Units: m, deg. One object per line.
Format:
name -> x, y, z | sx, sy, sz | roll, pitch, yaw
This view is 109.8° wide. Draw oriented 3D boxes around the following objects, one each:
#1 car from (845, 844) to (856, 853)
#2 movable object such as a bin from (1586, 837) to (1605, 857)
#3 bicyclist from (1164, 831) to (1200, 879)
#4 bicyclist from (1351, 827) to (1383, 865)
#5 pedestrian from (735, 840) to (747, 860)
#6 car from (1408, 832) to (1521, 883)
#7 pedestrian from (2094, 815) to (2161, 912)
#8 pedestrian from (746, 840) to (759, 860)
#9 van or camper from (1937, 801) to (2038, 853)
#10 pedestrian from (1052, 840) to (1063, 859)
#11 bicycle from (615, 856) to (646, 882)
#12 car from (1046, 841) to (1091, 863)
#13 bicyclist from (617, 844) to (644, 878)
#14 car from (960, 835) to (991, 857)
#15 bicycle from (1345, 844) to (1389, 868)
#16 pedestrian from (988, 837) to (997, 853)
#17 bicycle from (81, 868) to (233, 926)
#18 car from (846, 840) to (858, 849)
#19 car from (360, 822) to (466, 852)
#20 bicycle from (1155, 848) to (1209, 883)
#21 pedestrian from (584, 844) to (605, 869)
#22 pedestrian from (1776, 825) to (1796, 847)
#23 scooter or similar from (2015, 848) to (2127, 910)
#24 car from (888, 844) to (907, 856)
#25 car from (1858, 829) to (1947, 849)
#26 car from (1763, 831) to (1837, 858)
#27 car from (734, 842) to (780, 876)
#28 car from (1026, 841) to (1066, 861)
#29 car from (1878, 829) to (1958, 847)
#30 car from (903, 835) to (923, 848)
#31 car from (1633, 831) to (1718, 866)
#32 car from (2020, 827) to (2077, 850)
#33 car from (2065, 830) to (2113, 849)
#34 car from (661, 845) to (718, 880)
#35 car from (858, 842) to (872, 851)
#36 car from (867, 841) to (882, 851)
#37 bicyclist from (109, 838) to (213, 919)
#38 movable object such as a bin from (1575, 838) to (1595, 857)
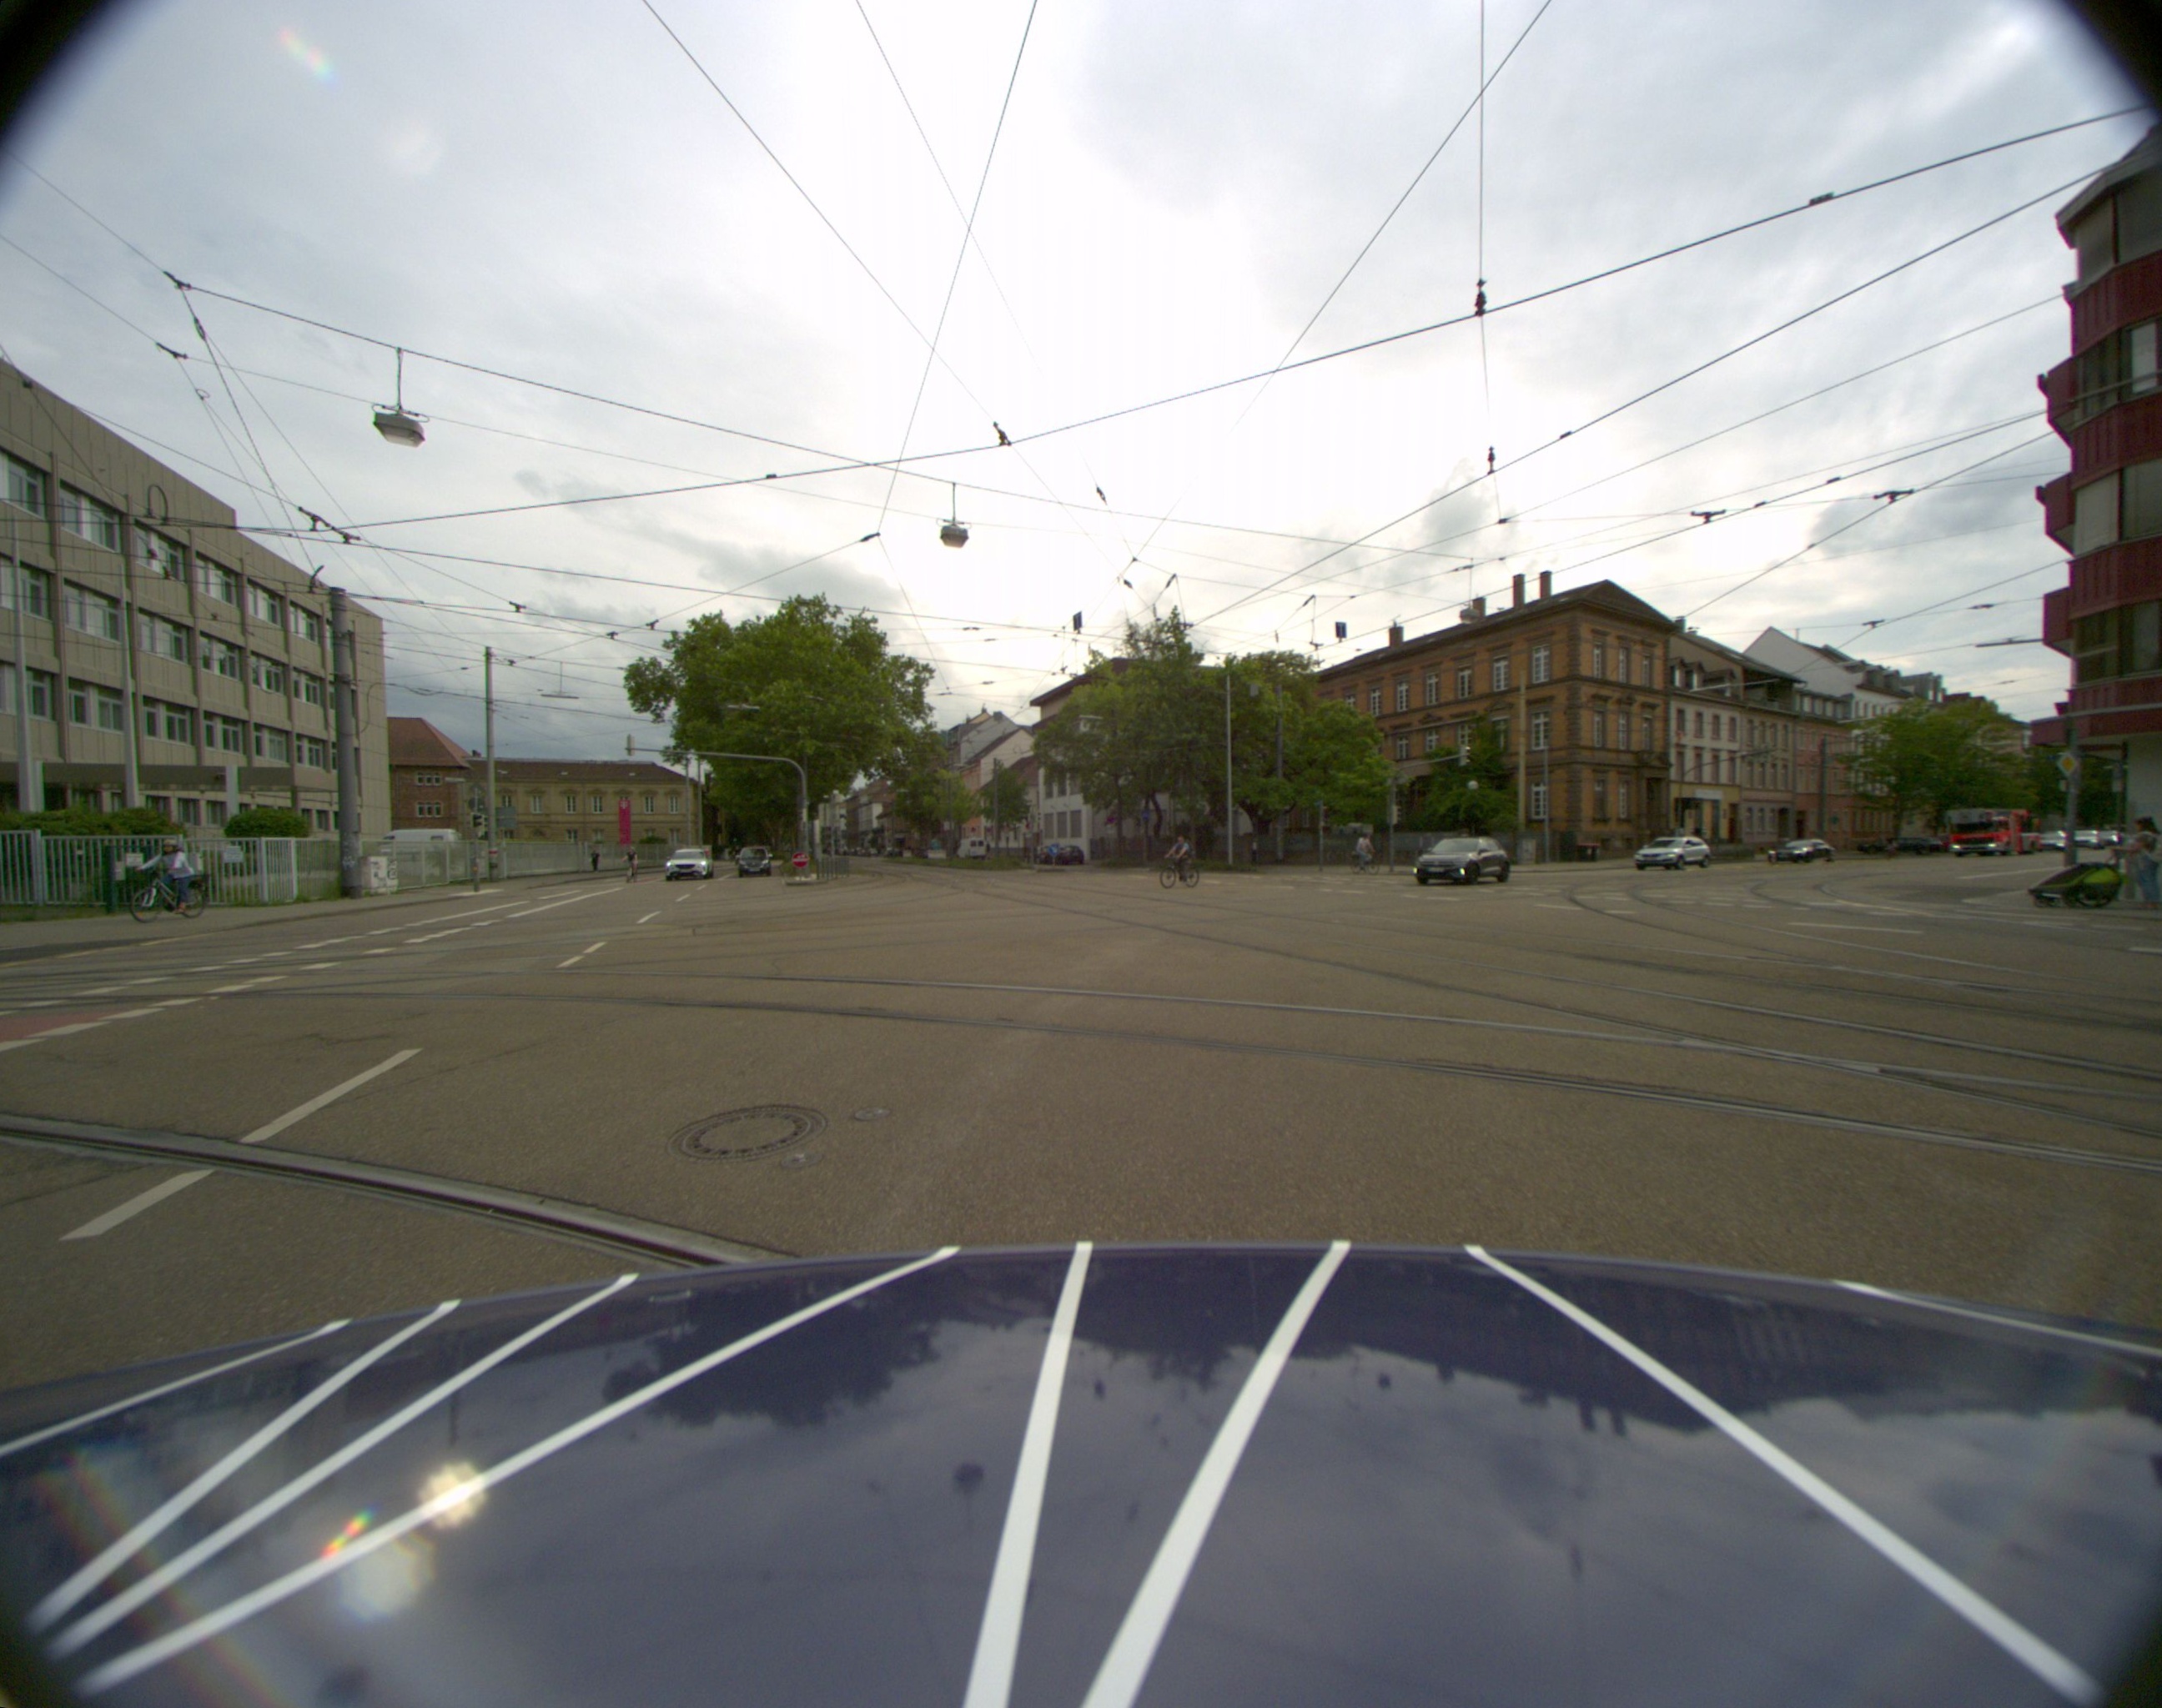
car -> -53.198, -1.318, 175.266 | 2.100, 1.856, 4.411 | -1, 2, -22
movable object such as a bin -> 30.204, -0.405, 44.595 | 0.702, 1.077, 0.663 | -3, 7, -32
bicyclist -> 3.305, 0.016, 24.800 | 0.920, 1.499, 0.714 | -4, 4, -40
bicyclist -> 13.356, -0.385, 35.534 | 0.749, 1.751, 1.250 | -1, 2, -23
pedestrian -> -32.209, -0.366, 71.982 | 0.837, 1.855, 1.174 | -1, 2, -13
car -> 12.854, 0.039, 25.357 | 4.290, 1.539, 1.769 | -2, 3, -40
pedestrian -> 19.667, 0.159, 14.078 | 0.813, 1.734, 0.948 | -2, 3, -31
pedestrian -> -31.242, -0.375, 72.306 | 0.837, 1.855, 1.249 | -1, 2, -13
van or camper -> 63.599, -1.893, 53.226 | 9.666, 3.402, 2.602 | -1, 2, -29
pedestrian -> -2.069, -0.426, 68.085 | 0.770, 1.641, 0.764 | -1, 3, -22
bicycle -> -21.539, 0.696, 36.373 | 0.803, 1.080, 2.557 | -1, 2, -20
car -> -0.972, -0.177, 56.661 | 1.739, 1.552, 4.411 | -1, 2, -23
bicyclist -> -21.512, 0.305, 36.291 | 0.803, 1.541, 1.326 | -1, 2, -20
car -> -11.102, -0.892, 79.825 | 2.100, 2.177, 4.411 | -1, 2, -23
bicycle -> 13.371, 0.079, 35.532 | 0.752, 1.080, 2.011 | -1, 2, -23
pedestrian -> -10.046, -0.977, 85.947 | 0.770, 1.771, 0.764 | -1, 3, -23
bicycle -> -20.071, 0.898, 16.602 | 0.803, 1.080, 2.182 | -1, 2, -8
car -> -49.159, -1.964, 163.041 | 2.100, 1.856, 4.411 | -1, 2, -23
car -> -53.947, -1.394, 61.577 | 5.907, 2.385, 2.563 | -1, 2, -26
bicycle -> 3.306, 0.362, 24.811 | 1.803, 1.013, 0.713 | -3, 3, -40
pedestrian -> -31.731, 0.170, 49.587 | 0.884, 1.561, 0.978 | -1, 3, -17
pedestrian -> 54.501, -1.418, 58.746 | 0.928, 1.680, 0.730 | -2, 6, -29
scooter or similar -> 19.235, 0.455, 14.779 | 0.948, 1.122, 1.196 | -1, 1, -30
car -> -28.813, -0.594, 119.158 | 2.100, 1.797, 4.411 | -1, 2, -23
car -> 66.271, -1.260, 61.406 | 4.614, 1.465, 1.793 | 3, 4, 37
car -> 42.094, -0.584, 44.481 | 4.053, 1.526, 1.771 | -1, 2, -25
car -> -16.803, 0.208, 39.579 | 1.838, 1.558, 4.412 | -1, 2, -19
car -> -2.903, -0.248, 61.578 | 1.762, 1.527, 4.411 | -1, 2, -23
car -> 71.862, -1.392, 65.340 | 4.332, 1.472, 1.793 | 3, 4, 37
car -> -24.214, -1.817, 109.393 | 2.100, 1.797, 4.411 | -1, 2, -23
car -> 29.295, -0.288, 37.419 | 4.288, 1.582, 1.770 | -1, 1, -29
car -> 74.709, -1.235, 58.681 | 4.058, 1.699, 1.995 | -1, 2, -28
car -> 85.275, -1.261, 64.270 | 4.006, 1.478, 1.907 | -2, 2, -30
car -> -19.130, 0.371, 37.274 | 2.002, 1.496, 4.411 | -1, 2, -21
car -> -43.415, -1.462, 152.372 | 2.100, 1.797, 4.411 | -1, 2, -23
car -> -38.344, -1.520, 140.874 | 2.100, 1.797, 4.411 | -1, 2, -23
bicyclist -> -20.062, 0.507, 16.607 | 0.803, 1.692, 1.181 | -1, 2, -8
movable object such as a bin -> 29.471, -0.392, 44.426 | 0.679, 1.077, 0.650 | -3, 7, -33
